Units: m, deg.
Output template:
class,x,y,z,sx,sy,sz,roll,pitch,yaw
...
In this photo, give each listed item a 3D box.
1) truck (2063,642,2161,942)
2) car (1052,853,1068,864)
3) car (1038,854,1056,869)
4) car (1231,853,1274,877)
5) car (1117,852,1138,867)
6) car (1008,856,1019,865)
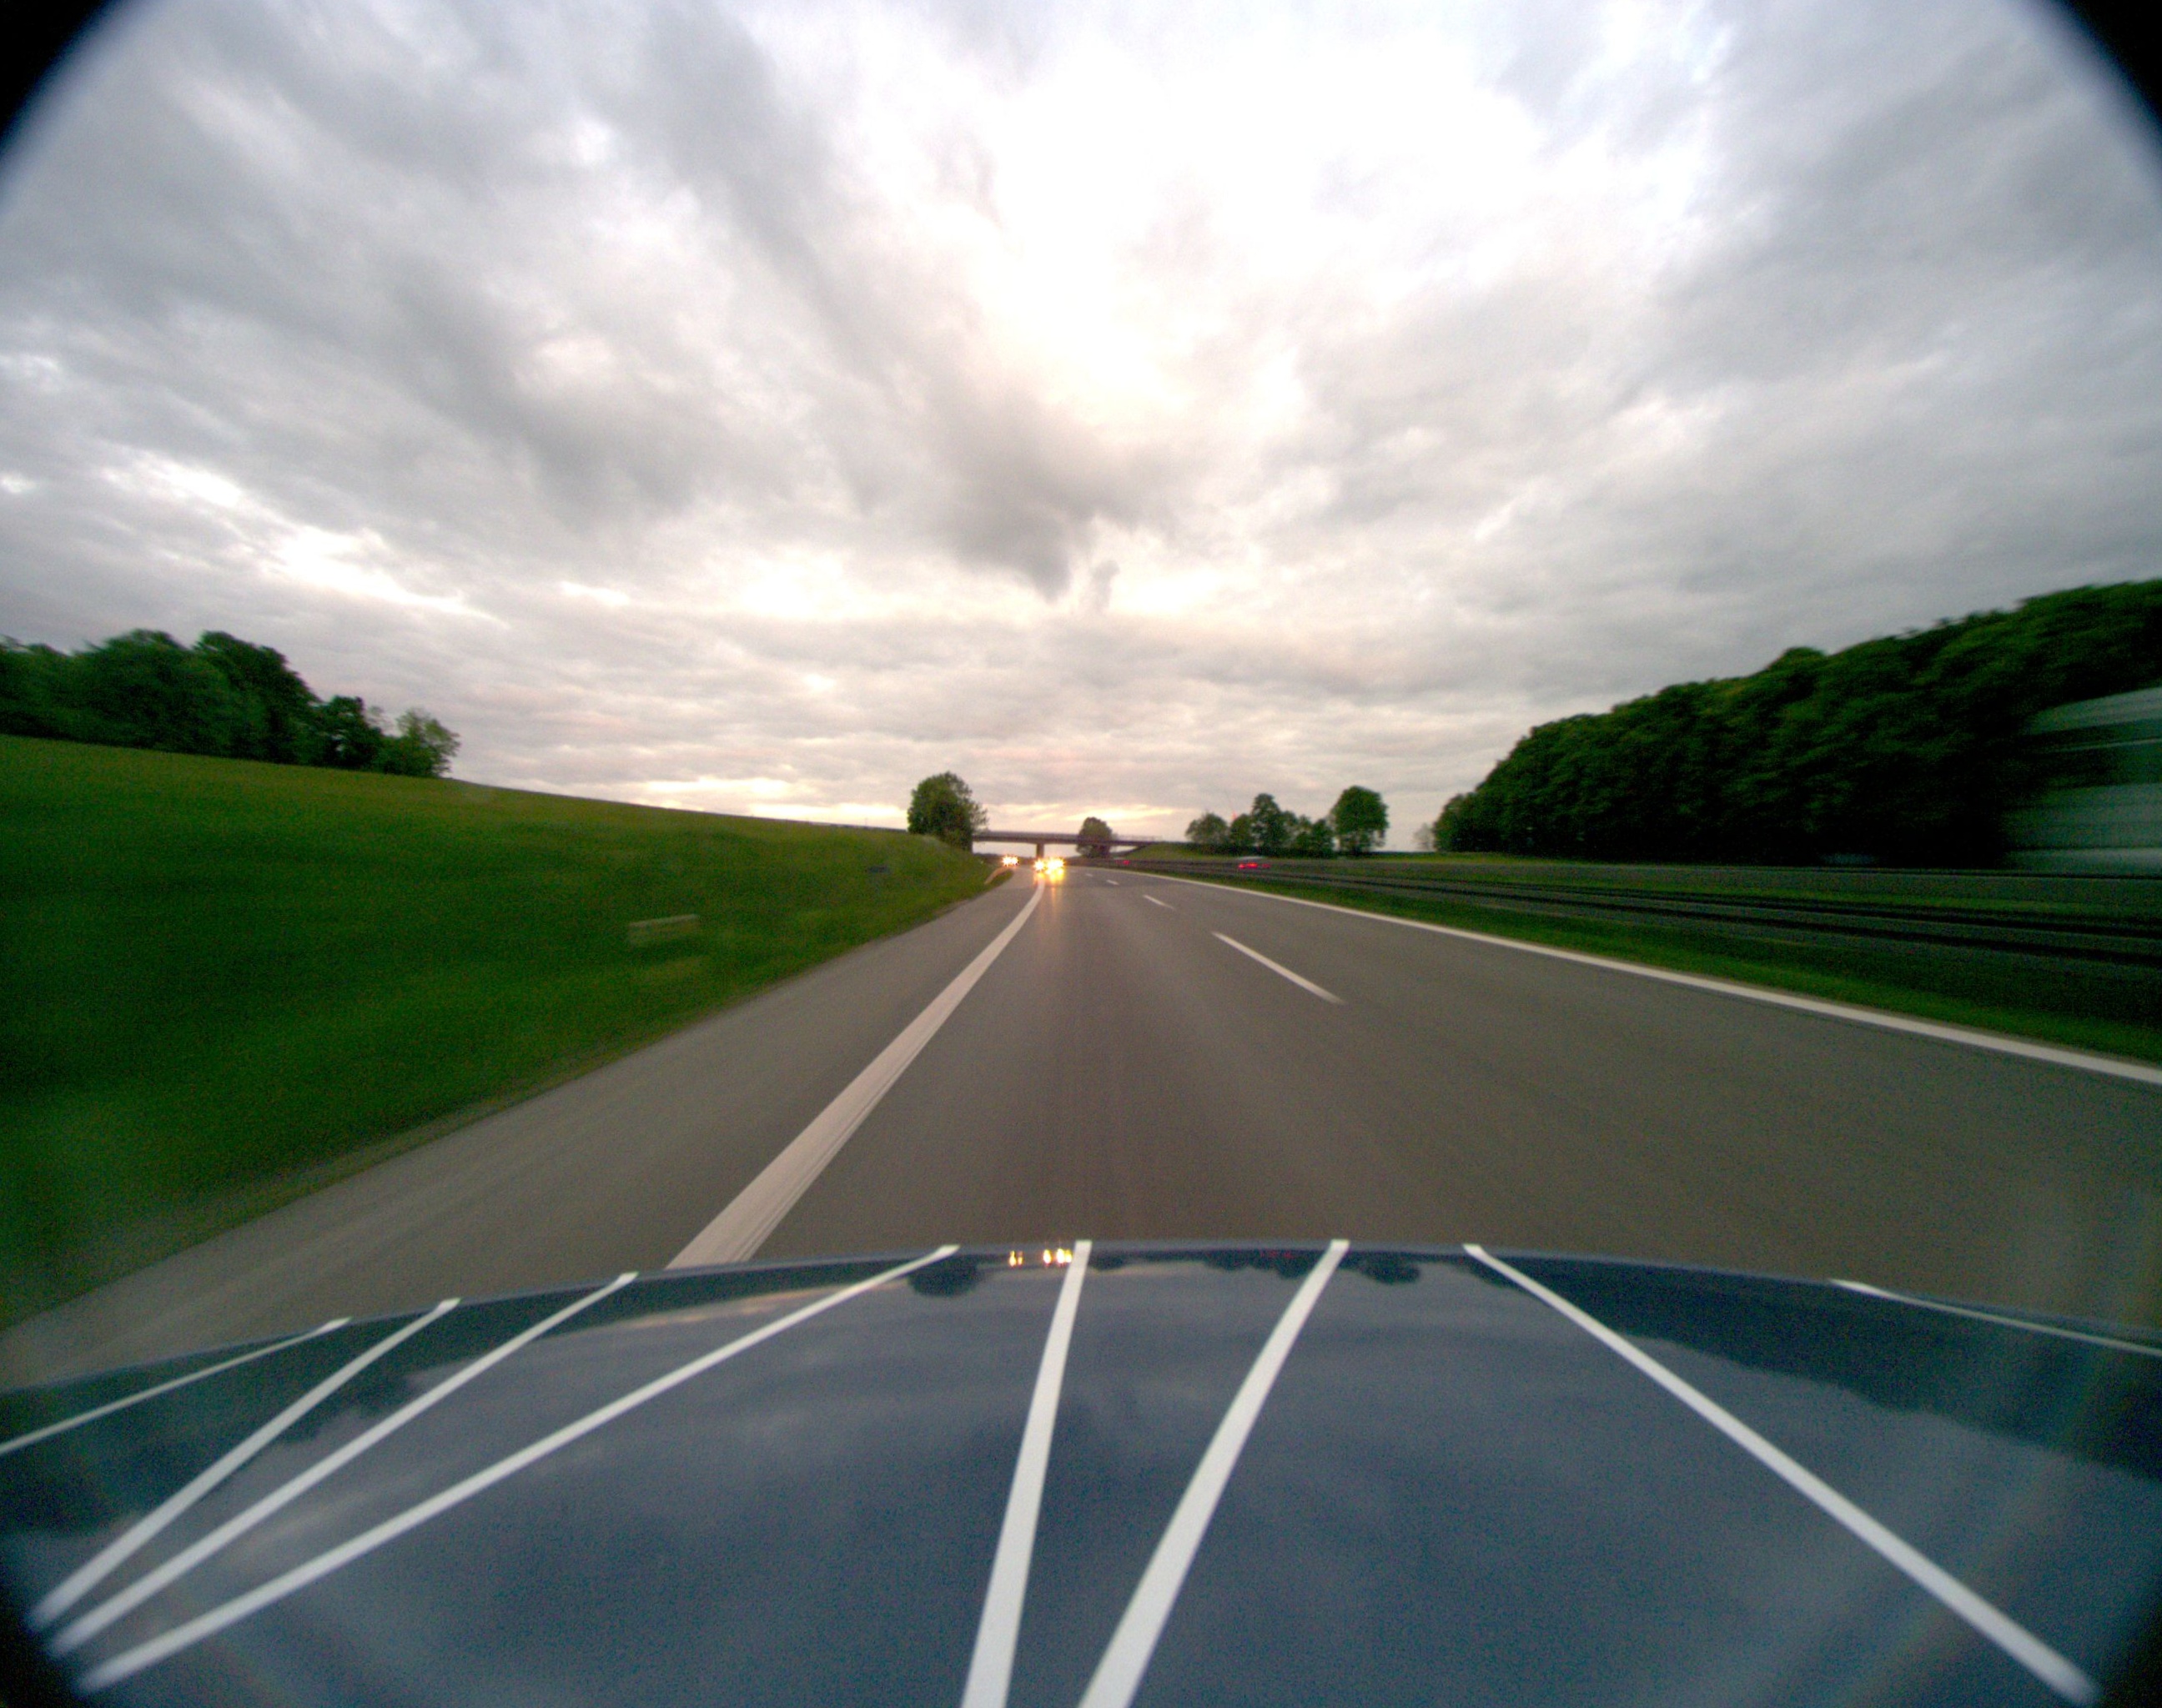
class,x,y,z,sx,sy,sz,roll,pitch,yaw
truck,16.713,-0.892,6.812,2.872,4.256,10.065,-1,0,1
car,-2.831,0.556,102.811,1.661,1.470,3.997,-1,0,-8
car,-3.528,0.724,78.043,1.682,1.504,3.998,1,0,-4
car,11.605,0.728,51.702,1.659,1.541,4.670,1,0,-3
car,6.605,0.769,109.338,2.000,2.002,5.165,0,0,-8
car,-14.259,1.343,159.923,1.921,1.826,3.997,1,-1,-9
